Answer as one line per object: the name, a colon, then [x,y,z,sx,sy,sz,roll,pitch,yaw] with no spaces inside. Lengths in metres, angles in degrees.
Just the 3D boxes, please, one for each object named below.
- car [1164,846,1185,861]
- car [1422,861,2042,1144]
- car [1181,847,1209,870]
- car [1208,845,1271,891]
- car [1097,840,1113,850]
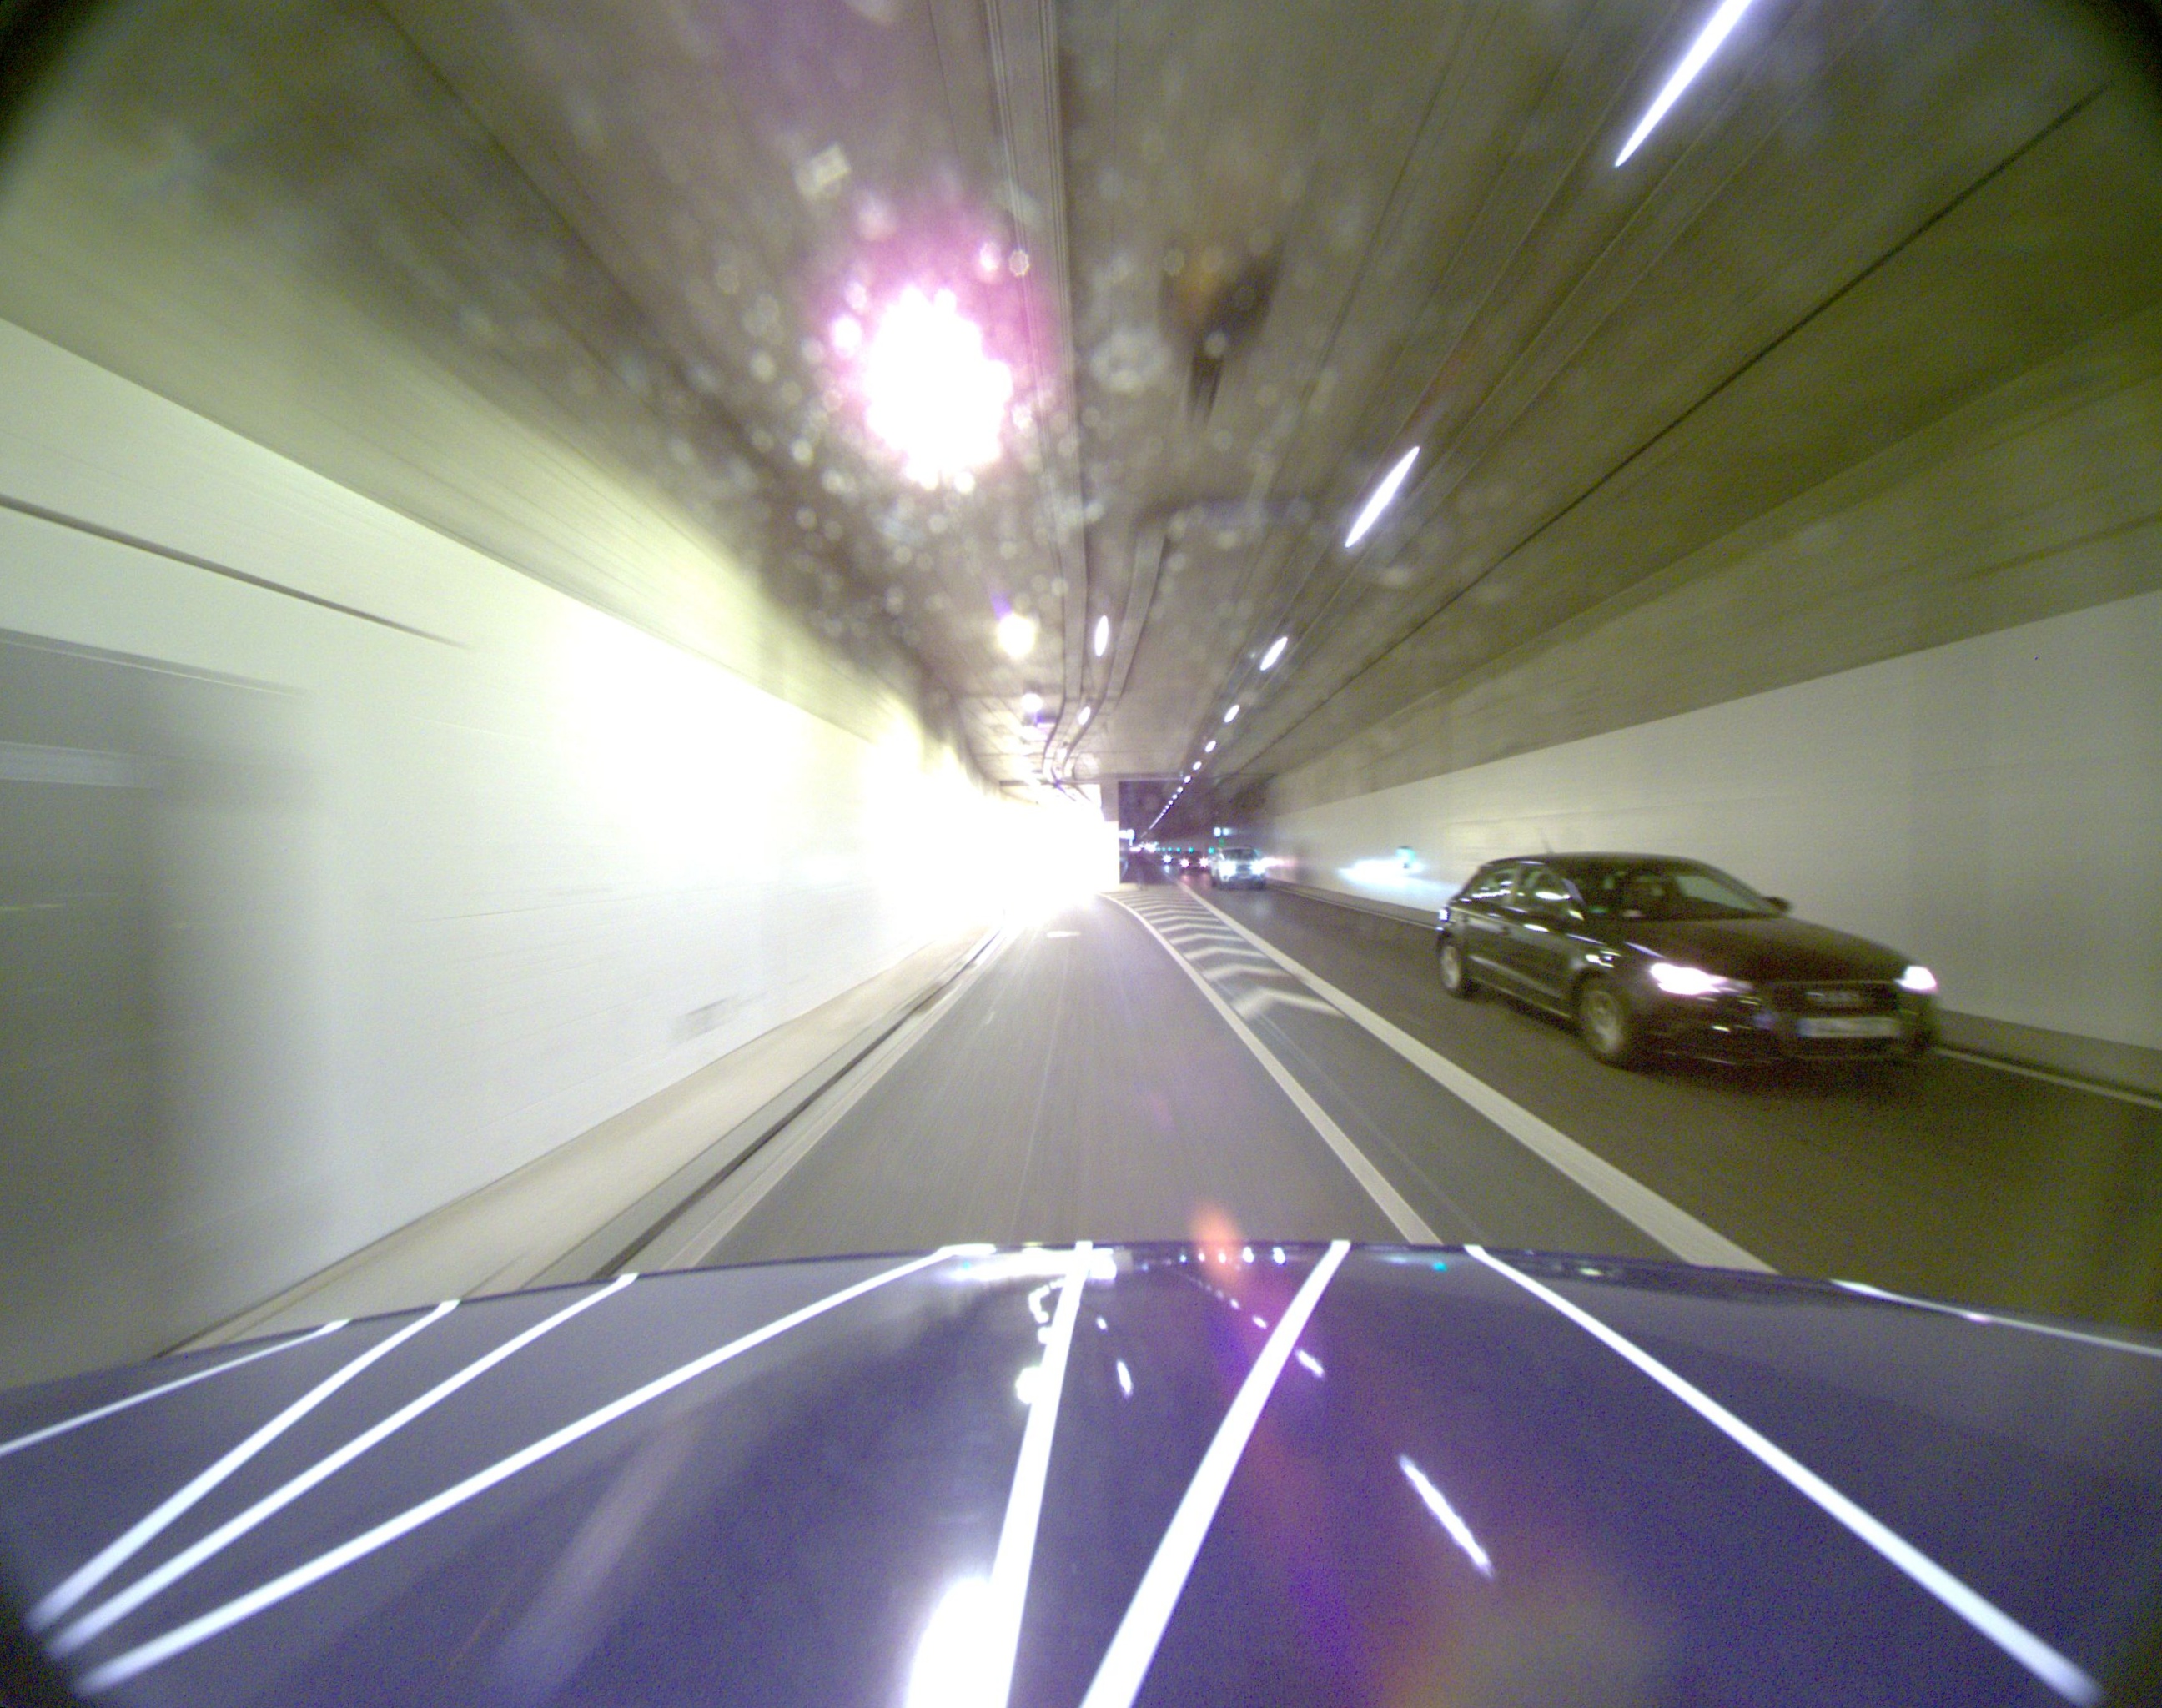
car: [9.607,-0.038,78.343,1.718,1.443,3.681,-4,0,3]
car: [4.332,0.819,5.988,1.660,1.393,3.876,-2,1,3]
car: [8.033,0.308,53.783,1.607,1.462,3.681,-4,0,5]
car: [6.241,0.501,30.267,1.853,1.655,3.831,-2,1,3]
car: [3.164,-1.205,99.717,1.829,1.328,4.000,-2,1,4]
